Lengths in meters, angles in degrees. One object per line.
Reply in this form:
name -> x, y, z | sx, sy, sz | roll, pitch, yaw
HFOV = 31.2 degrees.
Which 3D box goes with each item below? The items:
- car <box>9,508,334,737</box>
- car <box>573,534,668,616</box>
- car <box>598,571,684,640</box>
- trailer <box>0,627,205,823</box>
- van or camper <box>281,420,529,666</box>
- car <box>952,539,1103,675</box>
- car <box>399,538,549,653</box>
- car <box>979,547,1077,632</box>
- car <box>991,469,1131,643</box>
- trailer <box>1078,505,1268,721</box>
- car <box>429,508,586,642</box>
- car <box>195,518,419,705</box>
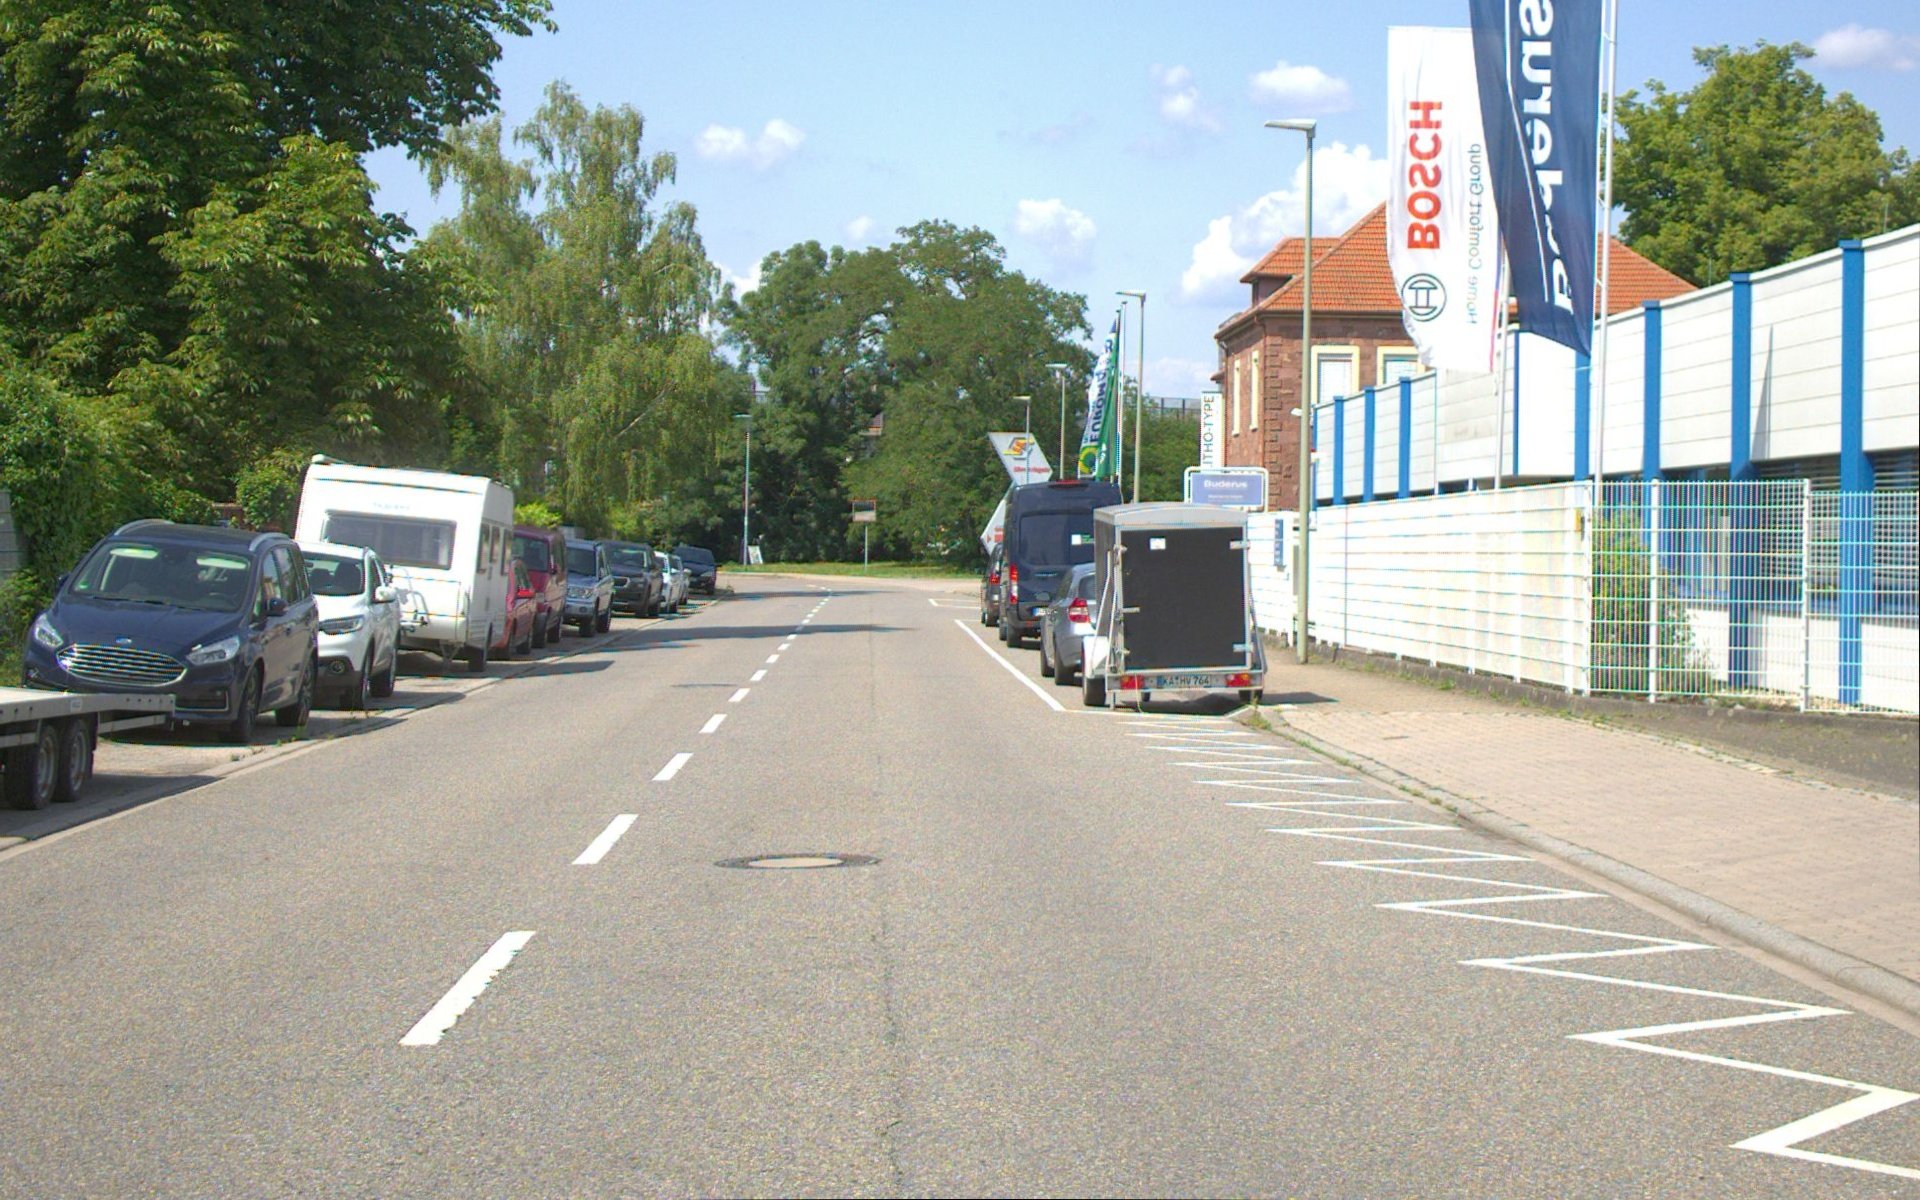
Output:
car -> -6.653, 0.148, 29.496 | 1.827, 1.787, 4.736 | 1, 1, -2
car -> -7.722, -0.583, 78.517 | 1.610, 1.739, 4.636 | 3, 1, 0
car -> -7.860, 0.112, 85.036 | 1.700, 1.589, 4.787 | 1, 1, -1
trailer -> -6.388, 0.680, 20.212 | 2.271, 0.880, 7.132 | 5, 0, 0
van or camper -> -7.136, -0.723, 44.967 | 2.262, 2.794, 6.834 | 5, 0, -3
car -> 0.758, 0.057, 40.845 | 1.572, 1.502, 4.133 | 1, 1, -2
car -> -7.194, -0.088, 51.210 | 1.625, 1.527, 4.269 | 4, 0, -1
car -> 1.364, -0.239, 70.298 | 1.825, 1.659, 4.556 | 0, 1, -1
car -> 1.646, -0.738, 58.070 | 1.937, 2.739, 6.155 | 1, 1, -2
trailer -> 2.100, 0.115, 34.511 | 1.601, 2.030, 2.741 | 2, 0, -2
car -> -7.524, -0.413, 57.581 | 1.898, 1.948, 4.958 | 6, 0, -2
car -> -6.736, 0.082, 35.860 | 1.683, 1.686, 4.446 | 5, 0, -5
